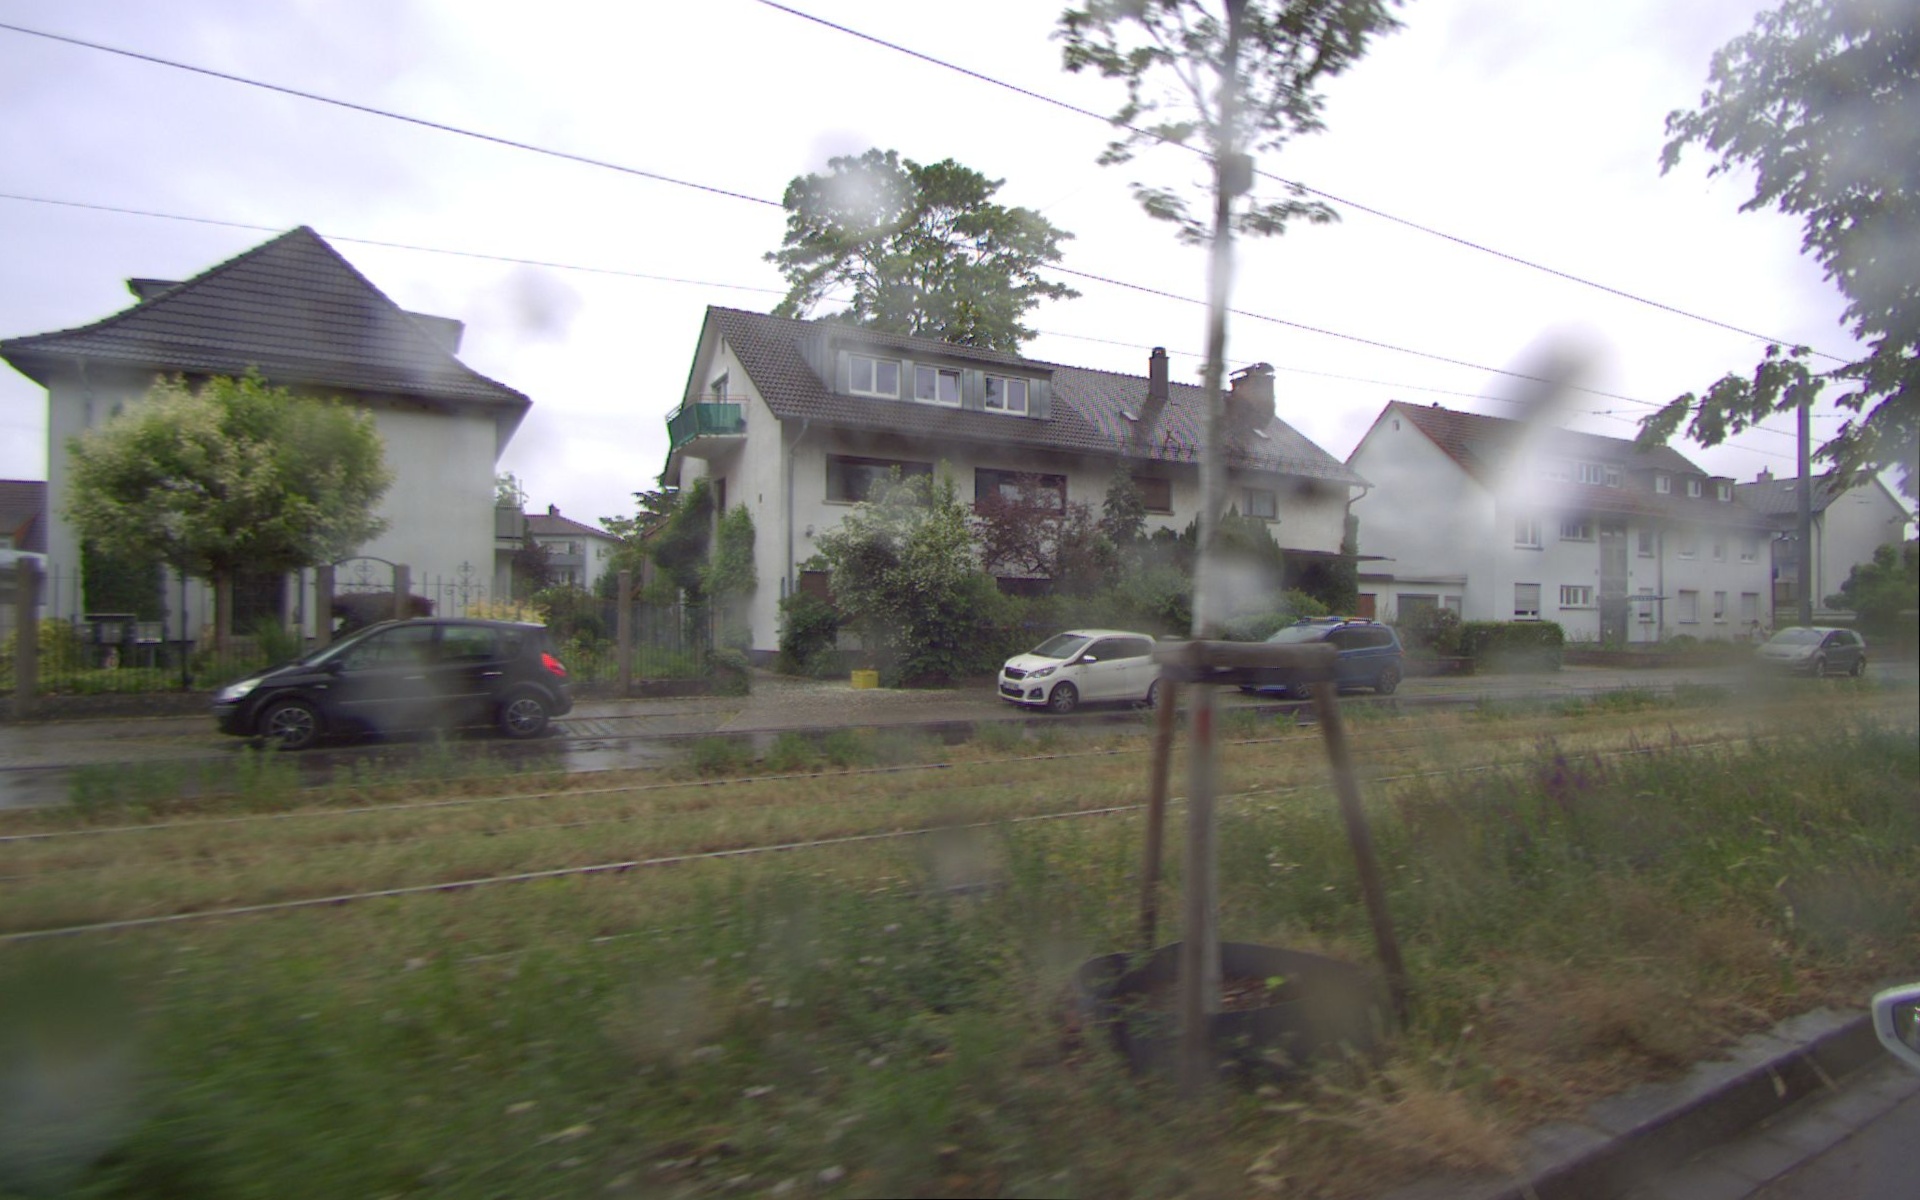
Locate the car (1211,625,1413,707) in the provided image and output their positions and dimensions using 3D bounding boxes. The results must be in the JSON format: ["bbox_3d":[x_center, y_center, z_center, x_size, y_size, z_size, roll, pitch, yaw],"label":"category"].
[{"bbox_3d":[8.068,1.420,22.972,4.360,1.635,1.984,1,1,-30],"label":"car"}]

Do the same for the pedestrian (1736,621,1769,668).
[{"bbox_3d":[30.162,1.681,38.239,0.844,1.778,0.699,1,-2,-29],"label":"pedestrian"}]

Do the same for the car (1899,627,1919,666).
[{"bbox_3d":[40.556,1.906,41.088,4.155,1.508,1.984,1,1,-30],"label":"car"}]

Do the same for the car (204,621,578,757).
[{"bbox_3d":[-7.562,1.083,13.717,4.155,1.536,1.984,1,1,-30],"label":"car"}]

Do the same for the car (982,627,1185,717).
[{"bbox_3d":[2.406,1.318,19.482,3.554,1.508,1.788,1,1,-30],"label":"car"}]

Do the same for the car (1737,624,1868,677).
[{"bbox_3d":[28.693,1.672,34.180,4.462,1.602,1.984,1,1,-30],"label":"car"}]
